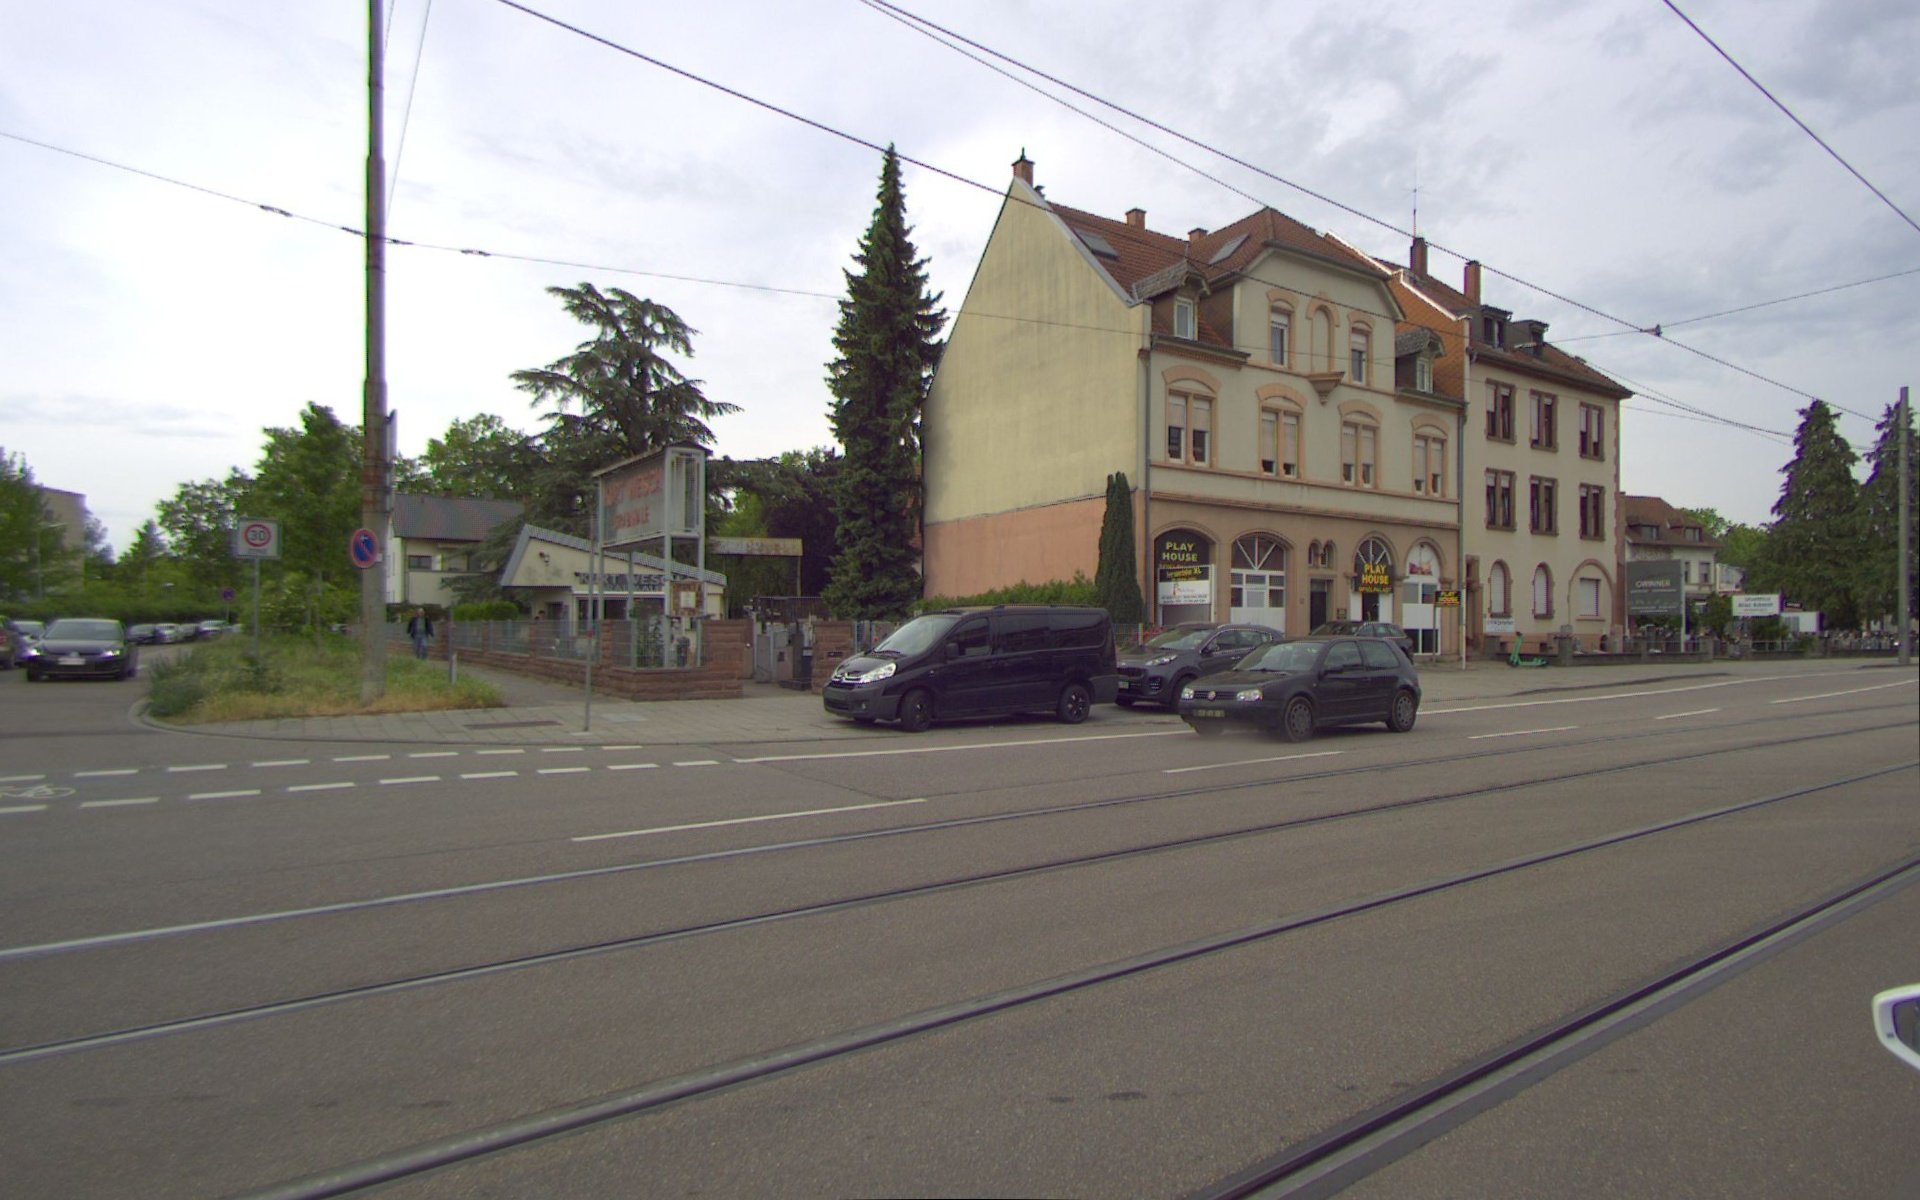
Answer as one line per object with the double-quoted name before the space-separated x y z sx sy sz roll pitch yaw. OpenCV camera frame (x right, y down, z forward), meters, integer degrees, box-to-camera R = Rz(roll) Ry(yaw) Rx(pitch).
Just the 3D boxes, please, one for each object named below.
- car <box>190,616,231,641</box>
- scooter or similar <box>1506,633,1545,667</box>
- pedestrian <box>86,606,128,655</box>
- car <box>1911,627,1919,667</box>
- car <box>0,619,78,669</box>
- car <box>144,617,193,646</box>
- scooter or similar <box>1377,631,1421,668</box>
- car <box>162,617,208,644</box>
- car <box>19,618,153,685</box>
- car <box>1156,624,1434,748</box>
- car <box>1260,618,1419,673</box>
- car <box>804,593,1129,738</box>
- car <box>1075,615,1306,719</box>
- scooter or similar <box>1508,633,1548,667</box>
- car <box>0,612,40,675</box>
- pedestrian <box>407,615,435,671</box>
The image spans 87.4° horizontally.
"car" -63.040 2.398 84.566 1.974 2.040 3.974 1 -1 -26
"scooter or similar" 19.608 1.720 34.826 1.157 1.116 0.527 1 -1 29
"pedestrian" -36.158 1.276 42.568 1.199 2.040 1.182 -1 -2 42
"car" 38.403 1.807 38.751 4.779 1.492 1.889 2 -3 -39
"car" -32.292 1.499 34.961 1.861 1.582 3.962 2 -1 -34
"car" -58.786 2.357 74.648 1.974 2.040 3.974 1 -1 -26
"scooter or similar" 14.184 1.584 32.471 0.523 1.116 1.166 1 1 -36
"car" -60.775 2.374 78.826 1.974 2.040 3.974 1 -1 -26
"car" -21.053 1.203 24.371 1.796 1.470 3.953 1 -2 -32
"car" 4.912 1.173 14.537 4.101 1.550 1.778 2 -4 -36
"car" 11.358 1.318 29.950 4.850 1.512 1.982 2 -1 -33
"car" 0.206 0.986 16.549 5.131 2.040 1.974 2 0 -34
"car" 4.645 1.226 20.024 4.490 1.773 2.023 0 1 -35
"scooter or similar" 19.382 1.708 34.310 1.157 1.116 0.527 1 -1 29
"car" -28.499 1.228 29.312 1.869 1.704 3.801 1 -1 -34
"pedestrian" -17.383 1.378 32.404 0.752 1.797 0.631 1 0 -29
